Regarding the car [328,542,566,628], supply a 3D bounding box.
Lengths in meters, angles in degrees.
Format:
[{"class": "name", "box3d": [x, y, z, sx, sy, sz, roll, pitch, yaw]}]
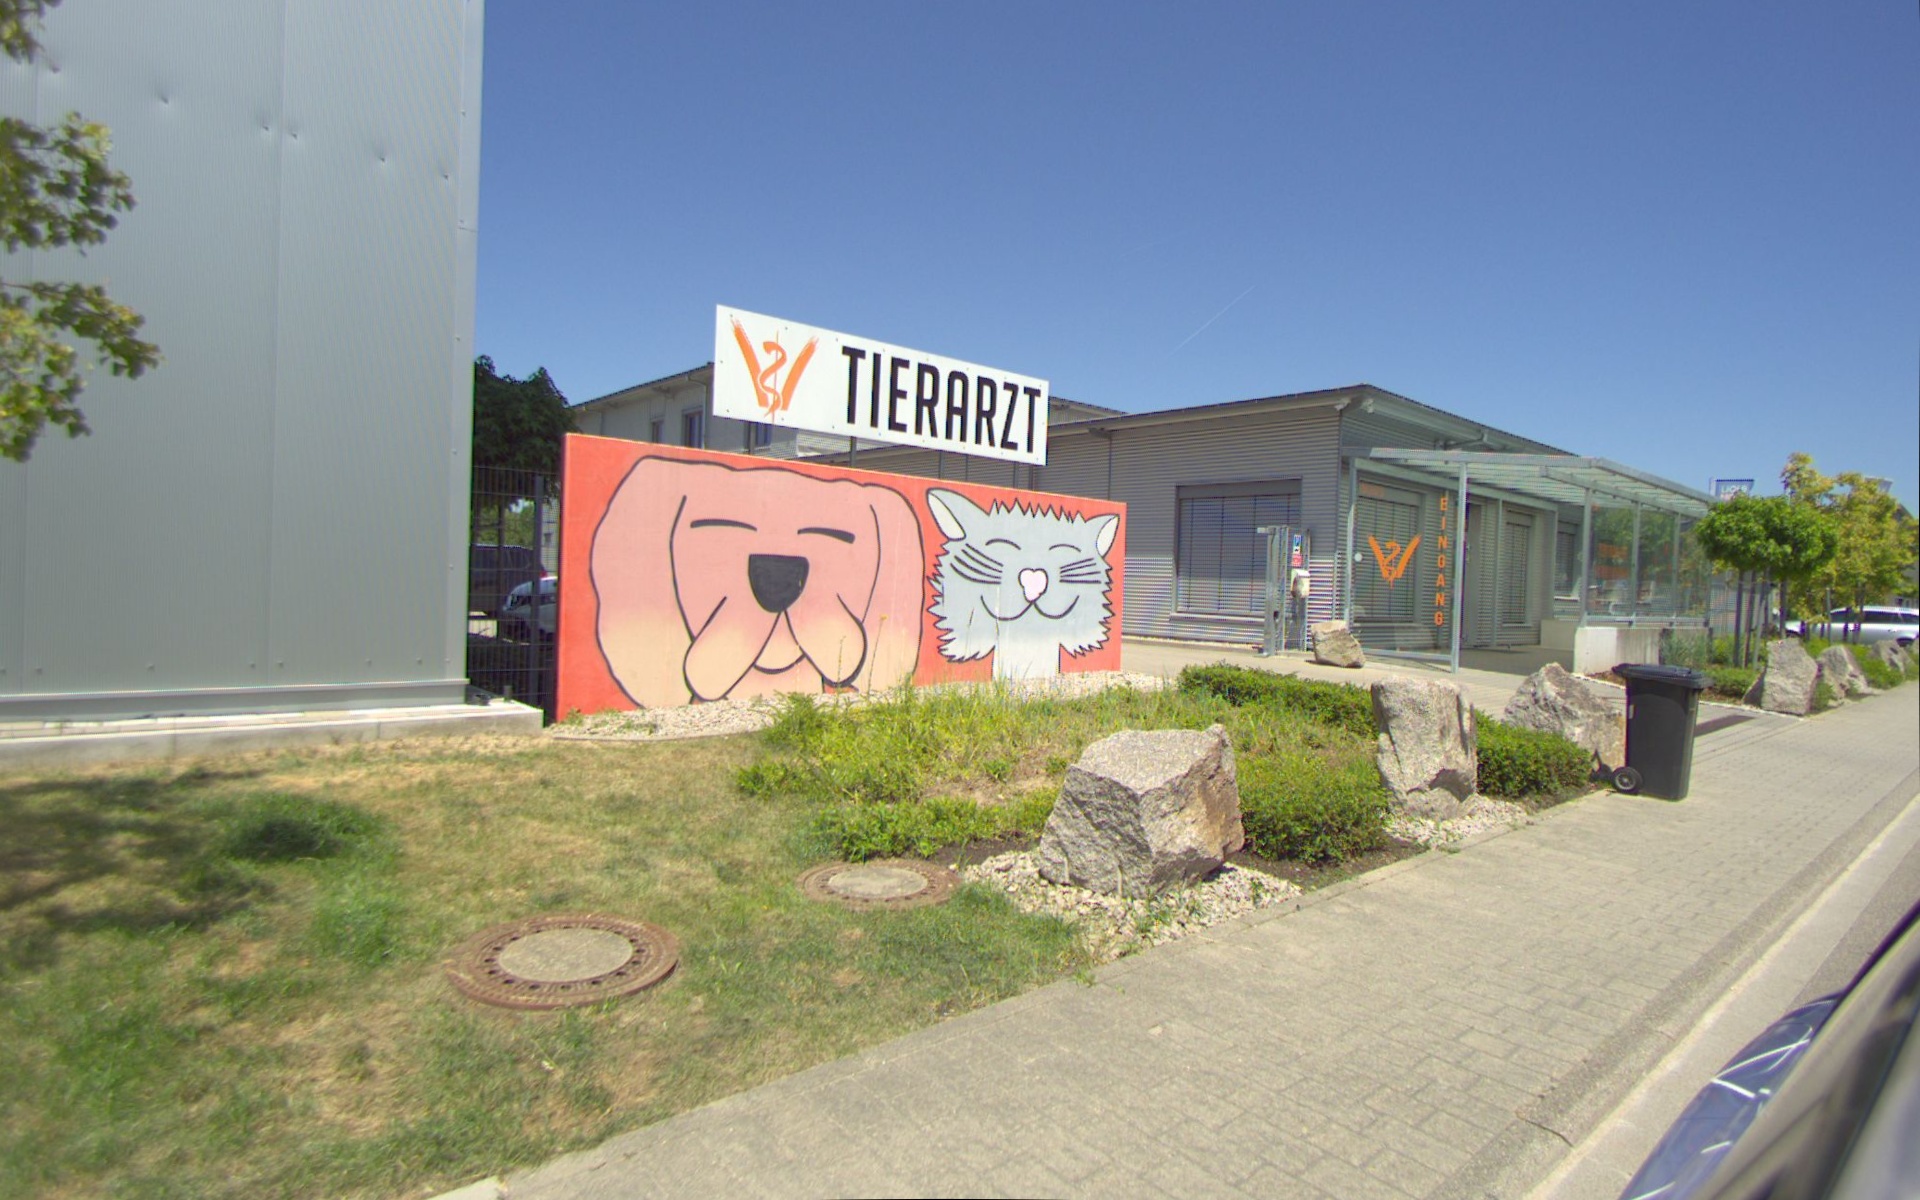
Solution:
[{"class": "car", "box3d": [-11.173, -0.346, 22.257, 1.994, 1.698, 4.282, 1, 2, 44]}]

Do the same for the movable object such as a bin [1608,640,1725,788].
[{"class": "movable object such as a bin", "box3d": [5.119, 0.800, 7.336, 0.530, 0.958, 0.559, 0, 2, -42]}]

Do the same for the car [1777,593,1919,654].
[{"class": "car", "box3d": [26.388, 0.674, 29.079, 1.881, 1.560, 4.285, 1, 2, -43]}]

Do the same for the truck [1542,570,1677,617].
[{"class": "truck", "box3d": [36.277, -0.408, 56.663, 2.142, 2.399, 5.947, 0, 2, -40]}]
